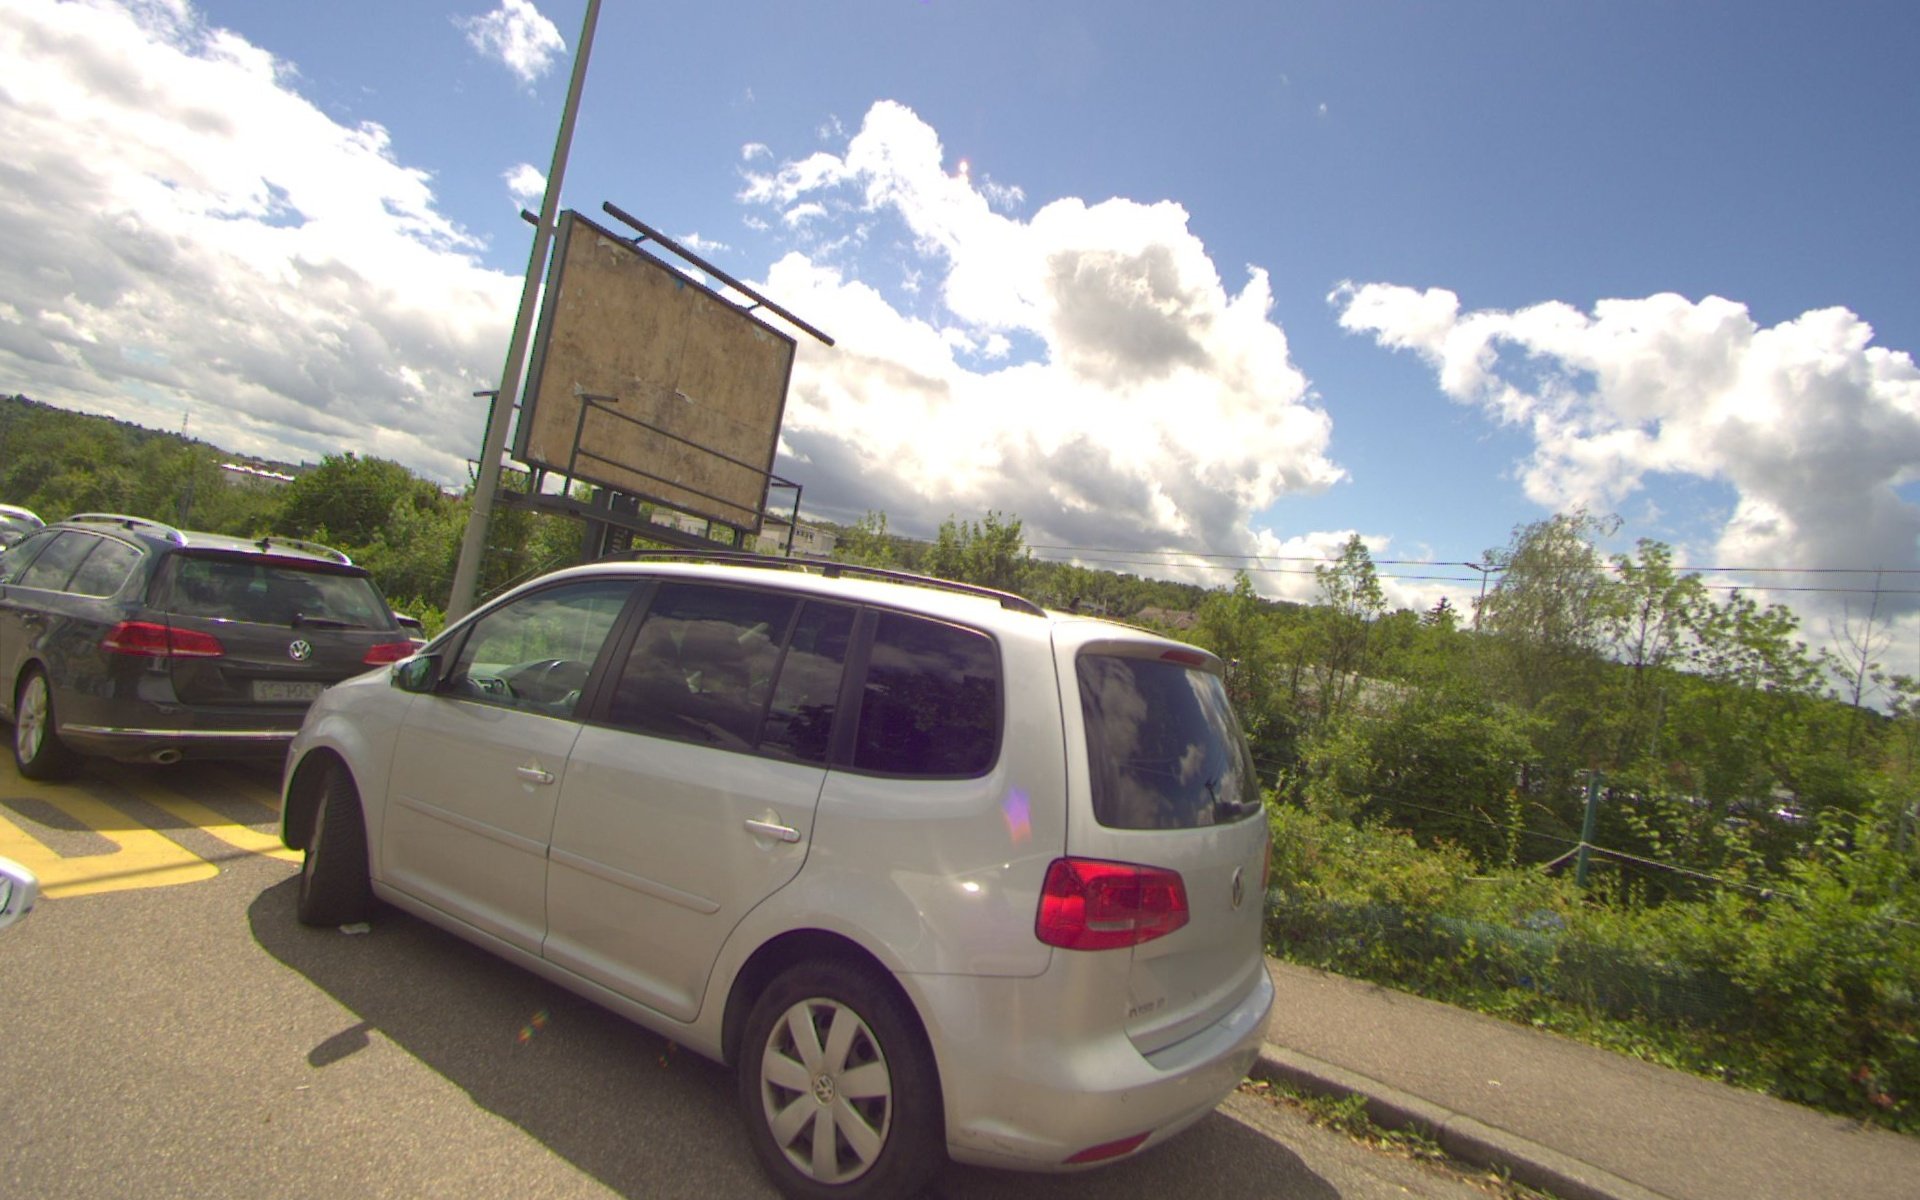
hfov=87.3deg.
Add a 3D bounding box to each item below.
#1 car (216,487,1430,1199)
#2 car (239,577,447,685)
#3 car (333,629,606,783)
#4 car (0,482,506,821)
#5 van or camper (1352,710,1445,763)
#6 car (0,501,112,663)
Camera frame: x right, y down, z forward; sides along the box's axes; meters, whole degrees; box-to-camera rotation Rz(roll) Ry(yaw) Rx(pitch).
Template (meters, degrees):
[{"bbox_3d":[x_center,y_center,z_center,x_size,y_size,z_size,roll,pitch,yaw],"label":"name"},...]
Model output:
[{"bbox_3d":[-0.756,0.686,3.773,4.237,1.696,1.709,7,-3,33],"label":"car"},{"bbox_3d":[-12.645,0.606,20.553,4.455,1.527,1.709,7,-3,33],"label":"car"},{"bbox_3d":[-7.061,1.476,14.410,3.635,1.527,1.709,7,-3,33],"label":"car"},{"bbox_3d":[-5.219,0.168,6.661,4.498,1.503,1.709,7,-3,33],"label":"car"},{"bbox_3d":[29.872,9.294,68.559,5.230,2.720,1.922,5,-4,42],"label":"van or camper"},{"bbox_3d":[-10.880,-0.400,10.600,3.892,1.496,1.710,7,-3,32],"label":"car"}]
